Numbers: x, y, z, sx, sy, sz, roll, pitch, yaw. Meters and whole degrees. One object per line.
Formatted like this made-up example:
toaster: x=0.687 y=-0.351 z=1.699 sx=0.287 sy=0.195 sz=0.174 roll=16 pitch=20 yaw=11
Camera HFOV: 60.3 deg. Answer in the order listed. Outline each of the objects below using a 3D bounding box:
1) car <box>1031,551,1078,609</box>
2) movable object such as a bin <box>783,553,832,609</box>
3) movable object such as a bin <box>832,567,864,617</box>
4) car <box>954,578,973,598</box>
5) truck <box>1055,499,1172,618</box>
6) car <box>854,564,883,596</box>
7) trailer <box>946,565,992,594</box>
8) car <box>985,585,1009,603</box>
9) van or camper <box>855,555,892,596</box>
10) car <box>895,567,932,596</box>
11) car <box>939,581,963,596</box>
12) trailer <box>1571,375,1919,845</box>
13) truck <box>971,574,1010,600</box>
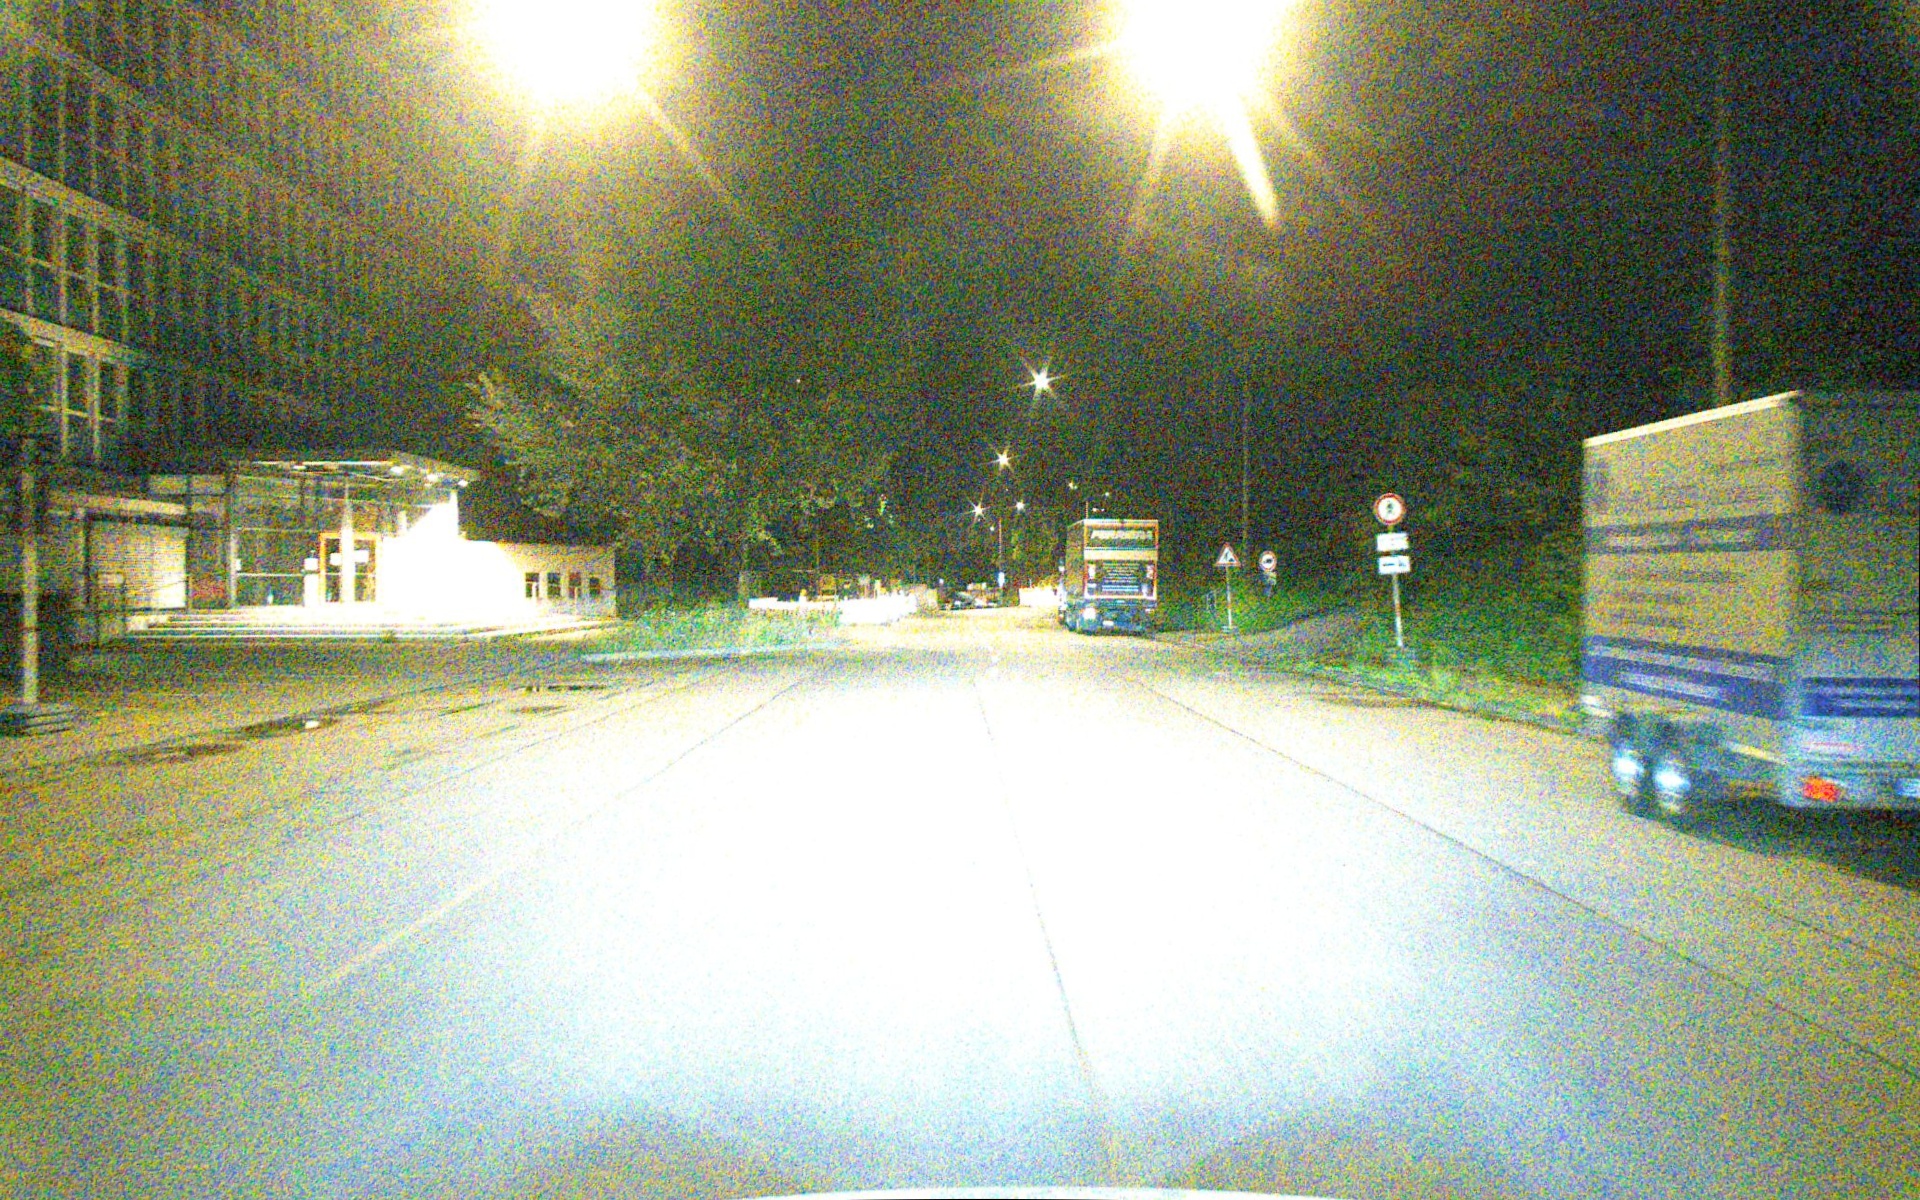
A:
car: x=4.390 y=-0.951 z=77.400 sx=2.065 sy=2.560 sz=6.374 roll=1 pitch=1 yaw=2
movable object such as a bin: x=-7.117 y=-0.870 z=76.944 sx=1.526 sy=2.510 sz=2.822 roll=-1 pitch=0 yaw=-21
movable object such as a bin: x=-6.546 y=-0.492 z=96.530 sx=1.541 sy=2.781 sz=3.695 roll=-3 pitch=1 yaw=-7
car: x=0.324 y=-1.090 z=152.178 sx=1.685 sy=1.690 sz=4.000 roll=1 pitch=-1 yaw=0
truck: x=5.402 y=-1.405 z=59.794 sx=3.256 sy=3.936 sz=9.326 roll=1 pitch=0 yaw=-1
car: x=-8.762 y=-1.887 z=158.921 sx=2.468 sy=2.978 sz=7.199 roll=-2 pitch=0 yaw=-2
trailer: x=0.750 y=-1.717 z=137.429 sx=1.541 sy=2.198 sz=5.174 roll=-2 pitch=-1 yaw=-27
car: x=4.045 y=-0.635 z=180.626 sx=1.684 sy=1.853 sz=4.003 roll=0 pitch=-1 yaw=15
van or camper: x=-6.979 y=-1.918 z=134.183 sx=2.467 sy=3.148 sz=7.446 roll=-2 pitch=0 yaw=1
car: x=-5.299 y=-2.117 z=188.921 sx=2.465 sy=3.226 sz=7.144 roll=-2 pitch=0 yaw=13
car: x=-1.053 y=-1.439 z=204.825 sx=1.951 sy=1.729 sz=4.209 roll=0 pitch=-1 yaw=14
trailer: x=5.911 y=0.034 z=11.511 sx=1.952 sy=2.697 sz=4.002 roll=1 pitch=1 yaw=2
truck: x=4.092 y=-1.737 z=221.804 sx=1.953 sy=3.463 sz=8.977 roll=1 pitch=1 yaw=23
